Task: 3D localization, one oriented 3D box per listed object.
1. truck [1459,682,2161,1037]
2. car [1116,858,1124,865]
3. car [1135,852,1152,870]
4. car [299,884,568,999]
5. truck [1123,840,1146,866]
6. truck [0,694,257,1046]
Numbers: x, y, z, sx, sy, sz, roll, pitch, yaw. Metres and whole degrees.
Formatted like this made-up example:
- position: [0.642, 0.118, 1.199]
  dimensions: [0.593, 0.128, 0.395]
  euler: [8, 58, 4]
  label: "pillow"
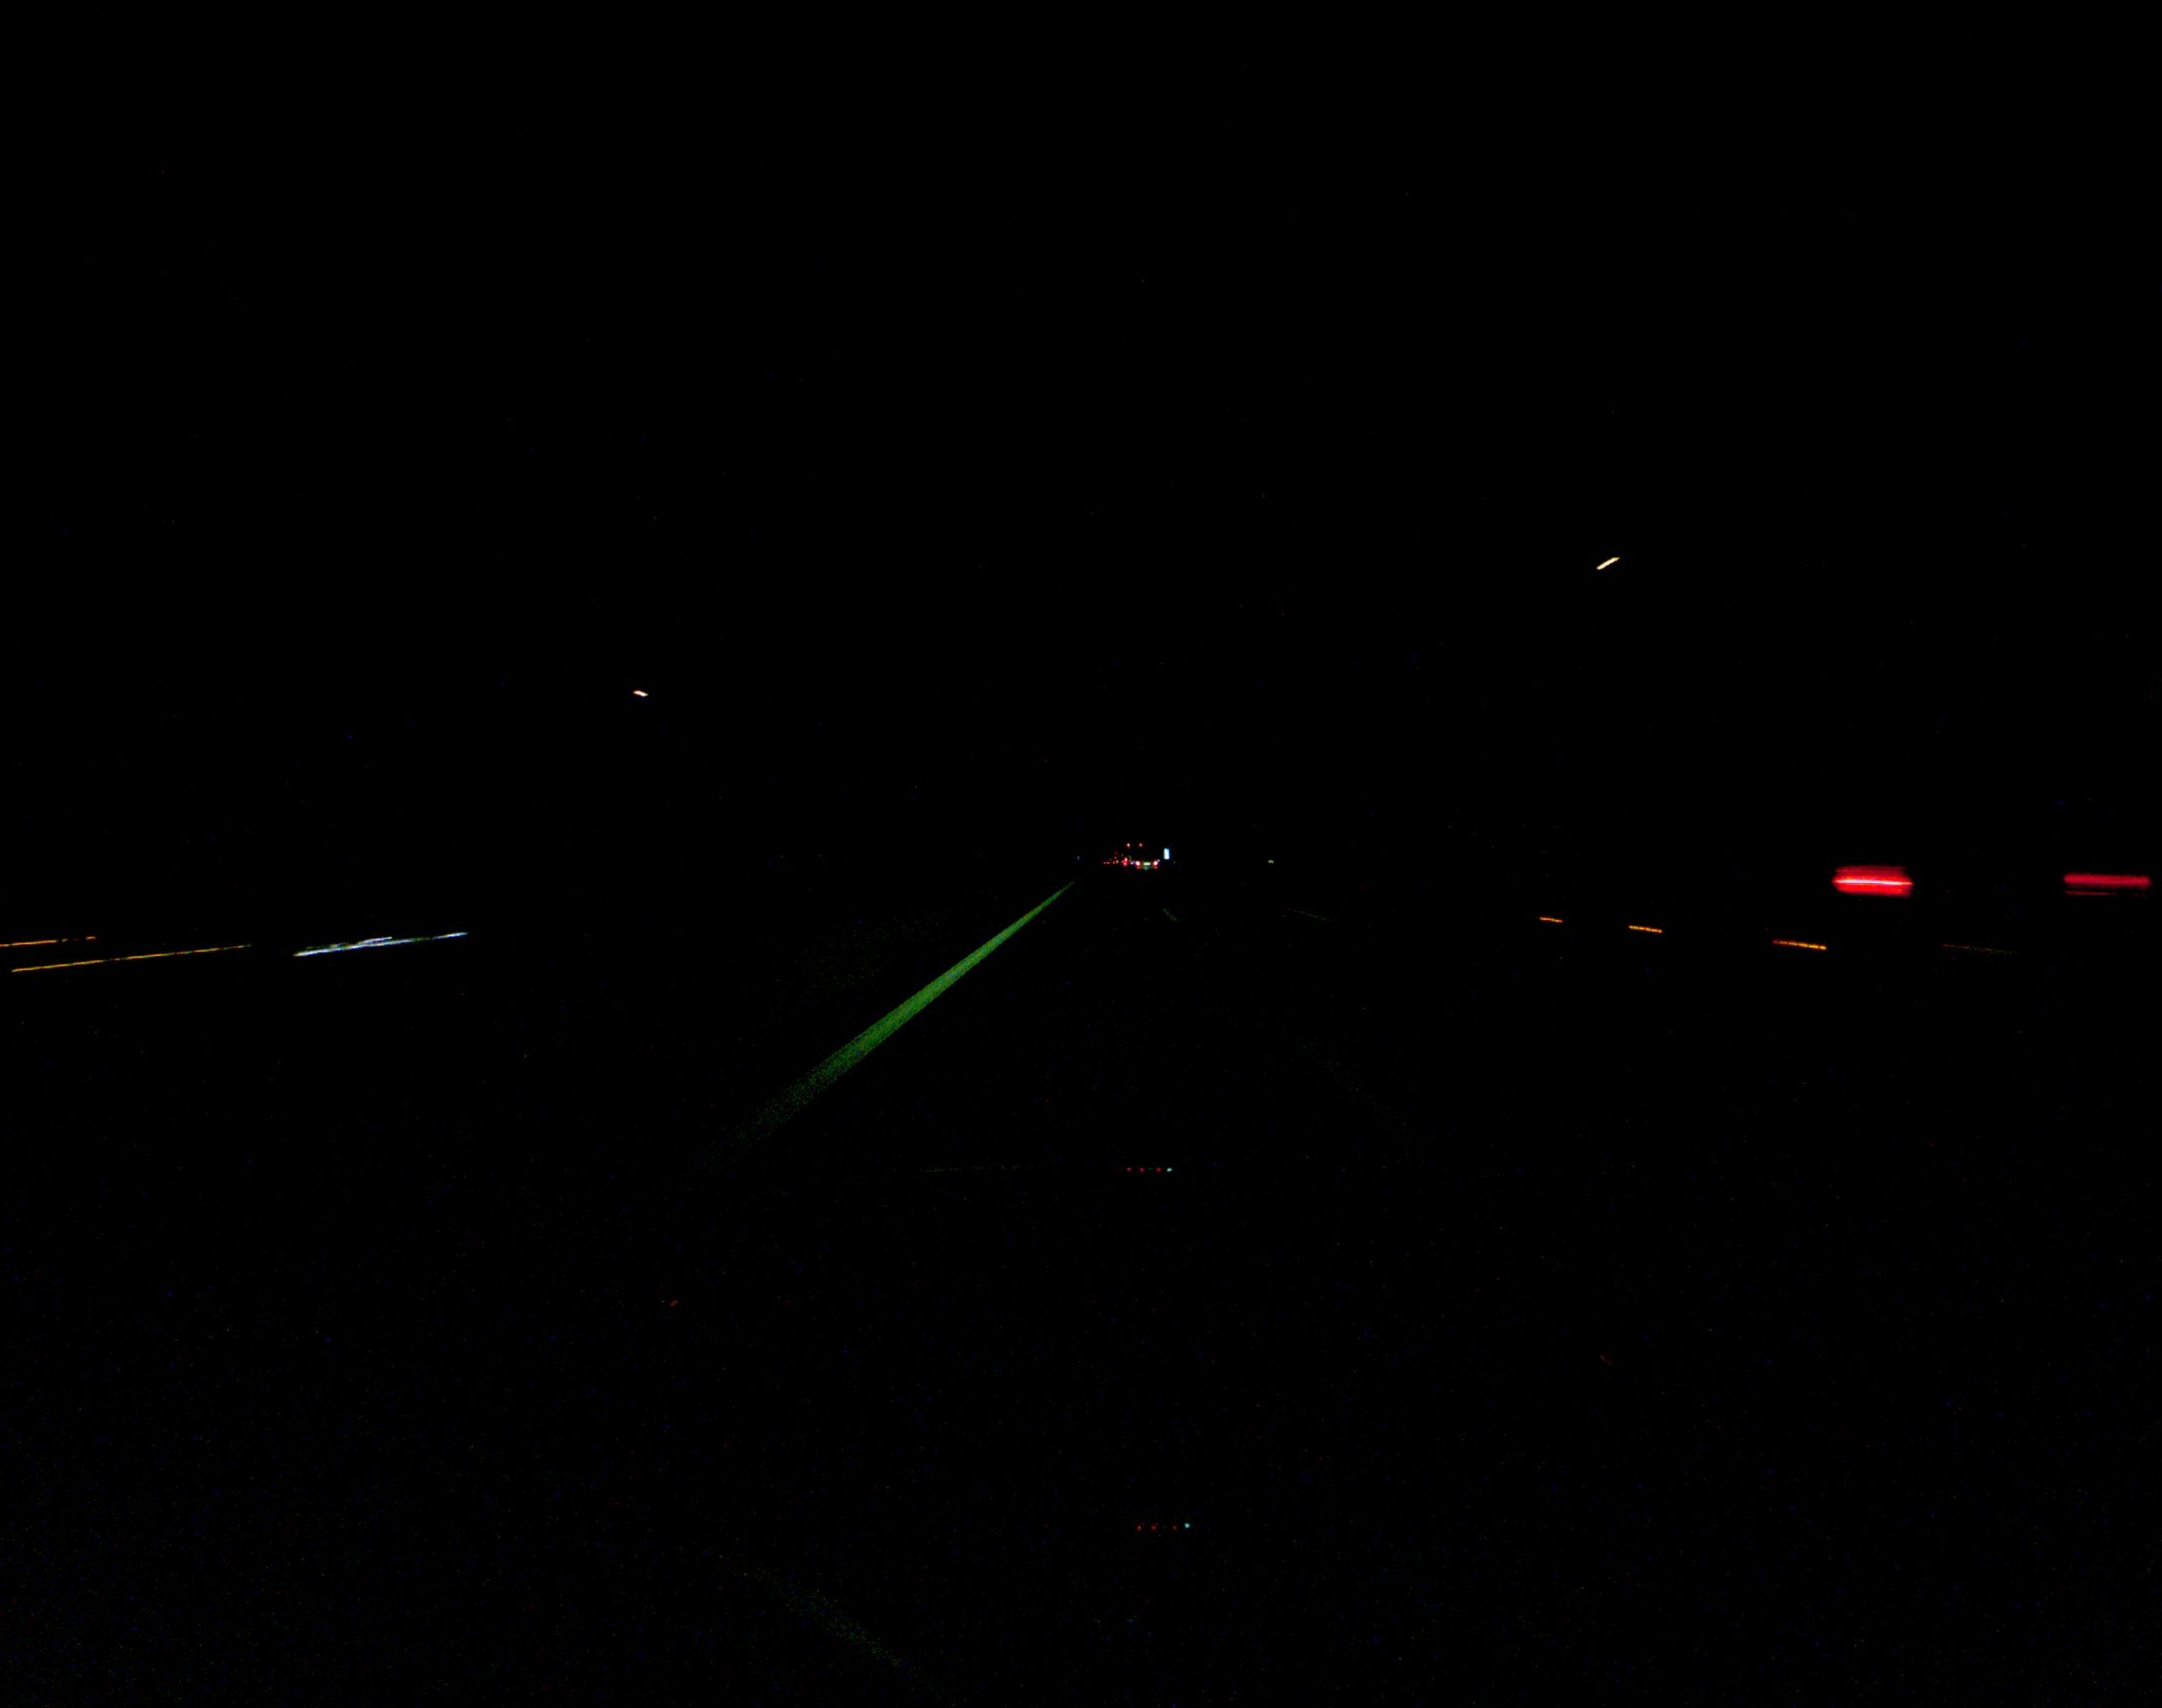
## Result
- position: [7.250, 0.072, 9.834]
  dimensions: [2.069, 2.691, 7.308]
  euler: [0, -1, 1]
  label: "truck"
- position: [8.958, 1.665, 185.106]
  dimensions: [1.813, 1.466, 4.251]
  euler: [0, 1, 3]
  label: "car"
- position: [5.332, 0.586, 69.412]
  dimensions: [1.341, 1.387, 3.504]
  euler: [0, 1, 3]
  label: "car"
- position: [-11.484, 1.458, 14.869]
  dimensions: [1.628, 1.587, 4.001]
  euler: [0, 1, 1]
  label: "car"
- position: [7.380, -0.224, 114.233]
  dimensions: [3.032, 3.324, 10.149]
  euler: [0, 1, 2]
  label: "truck"
- position: [-15.632, 0.340, 4.806]
  dimensions: [3.234, 4.488, 17.449]
  euler: [0, 1, 2]
  label: "truck"
